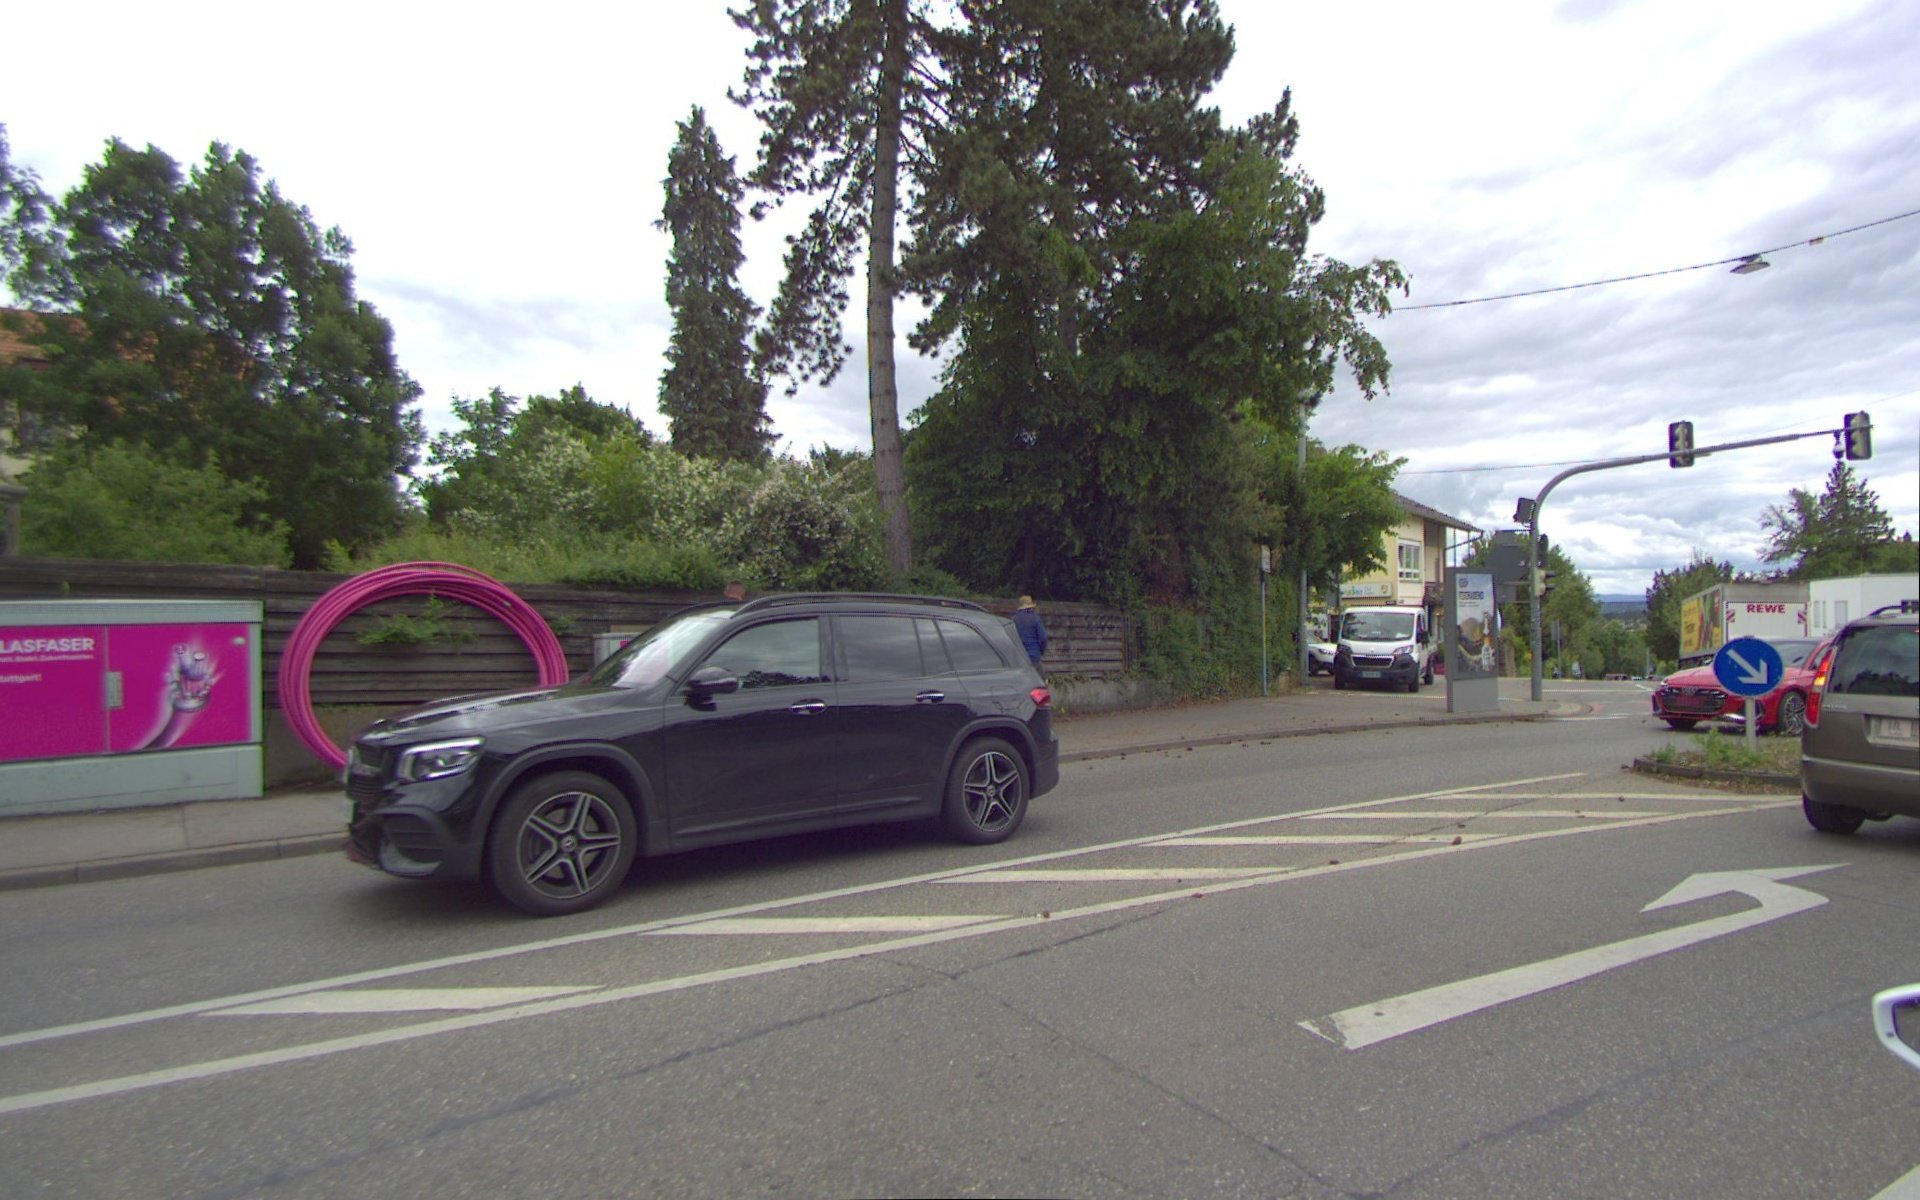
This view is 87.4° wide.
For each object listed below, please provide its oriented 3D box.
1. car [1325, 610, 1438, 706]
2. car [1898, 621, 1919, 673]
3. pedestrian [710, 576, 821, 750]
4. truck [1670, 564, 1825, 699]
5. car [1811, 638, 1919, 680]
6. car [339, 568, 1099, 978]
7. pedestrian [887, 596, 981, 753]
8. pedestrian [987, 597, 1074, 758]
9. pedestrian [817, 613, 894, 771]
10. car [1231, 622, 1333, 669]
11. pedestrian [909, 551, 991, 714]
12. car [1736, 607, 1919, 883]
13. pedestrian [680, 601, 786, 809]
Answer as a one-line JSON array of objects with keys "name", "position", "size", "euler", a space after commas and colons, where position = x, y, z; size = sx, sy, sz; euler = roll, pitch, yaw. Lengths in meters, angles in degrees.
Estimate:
[{"name": "car", "position": [11.510, 1.474, 27.126], "size": [2.246, 2.257, 6.462], "euler": [-1, -2, 28]}, {"name": "car", "position": [39.684, 1.856, 39.298], "size": [3.925, 2.040, 1.998], "euler": [-1, -2, 26]}, {"name": "pedestrian", "position": [-2.092, 0.659, 10.875], "size": [0.803, 1.787, 0.866], "euler": [0, -2, 30]}, {"name": "truck", "position": [32.242, 1.273, 41.718], "size": [3.078, 4.797, 11.777], "euler": [0, -2, 28]}, {"name": "car", "position": [45.339, 2.917, 50.119], "size": [3.925, 2.040, 1.998], "euler": [-1, -2, 25]}, {"name": "car", "position": [-1.389, 0.880, 6.653], "size": [4.479, 1.821, 1.980], "euler": [2, -4, -37]}, {"name": "pedestrian", "position": [-0.301, 0.852, 11.897], "size": [0.856, 1.777, 0.693], "euler": [0, -1, 29]}, {"name": "pedestrian", "position": [0.951, 0.997, 13.349], "size": [0.698, 2.040, 1.019], "euler": [0, -1, 38]}, {"name": "pedestrian", "position": [-1.193, 1.036, 11.565], "size": [0.737, 1.757, 0.696], "euler": [0, -1, 7]}, {"name": "car", "position": [14.439, 1.999, 45.112], "size": [3.935, 2.040, 1.993], "euler": [-1, -2, 36]}, {"name": "pedestrian", "position": [-0.137, 0.417, 13.112], "size": [0.804, 2.040, 0.700], "euler": [1, -1, -34]}, {"name": "car", "position": [7.761, 0.953, 7.262], "size": [3.948, 1.728, 1.887], "euler": [1, -2, -27]}, {"name": "pedestrian", "position": [-2.131, 0.955, 9.462], "size": [0.738, 1.861, 0.614], "euler": [0, -1, 24]}]
